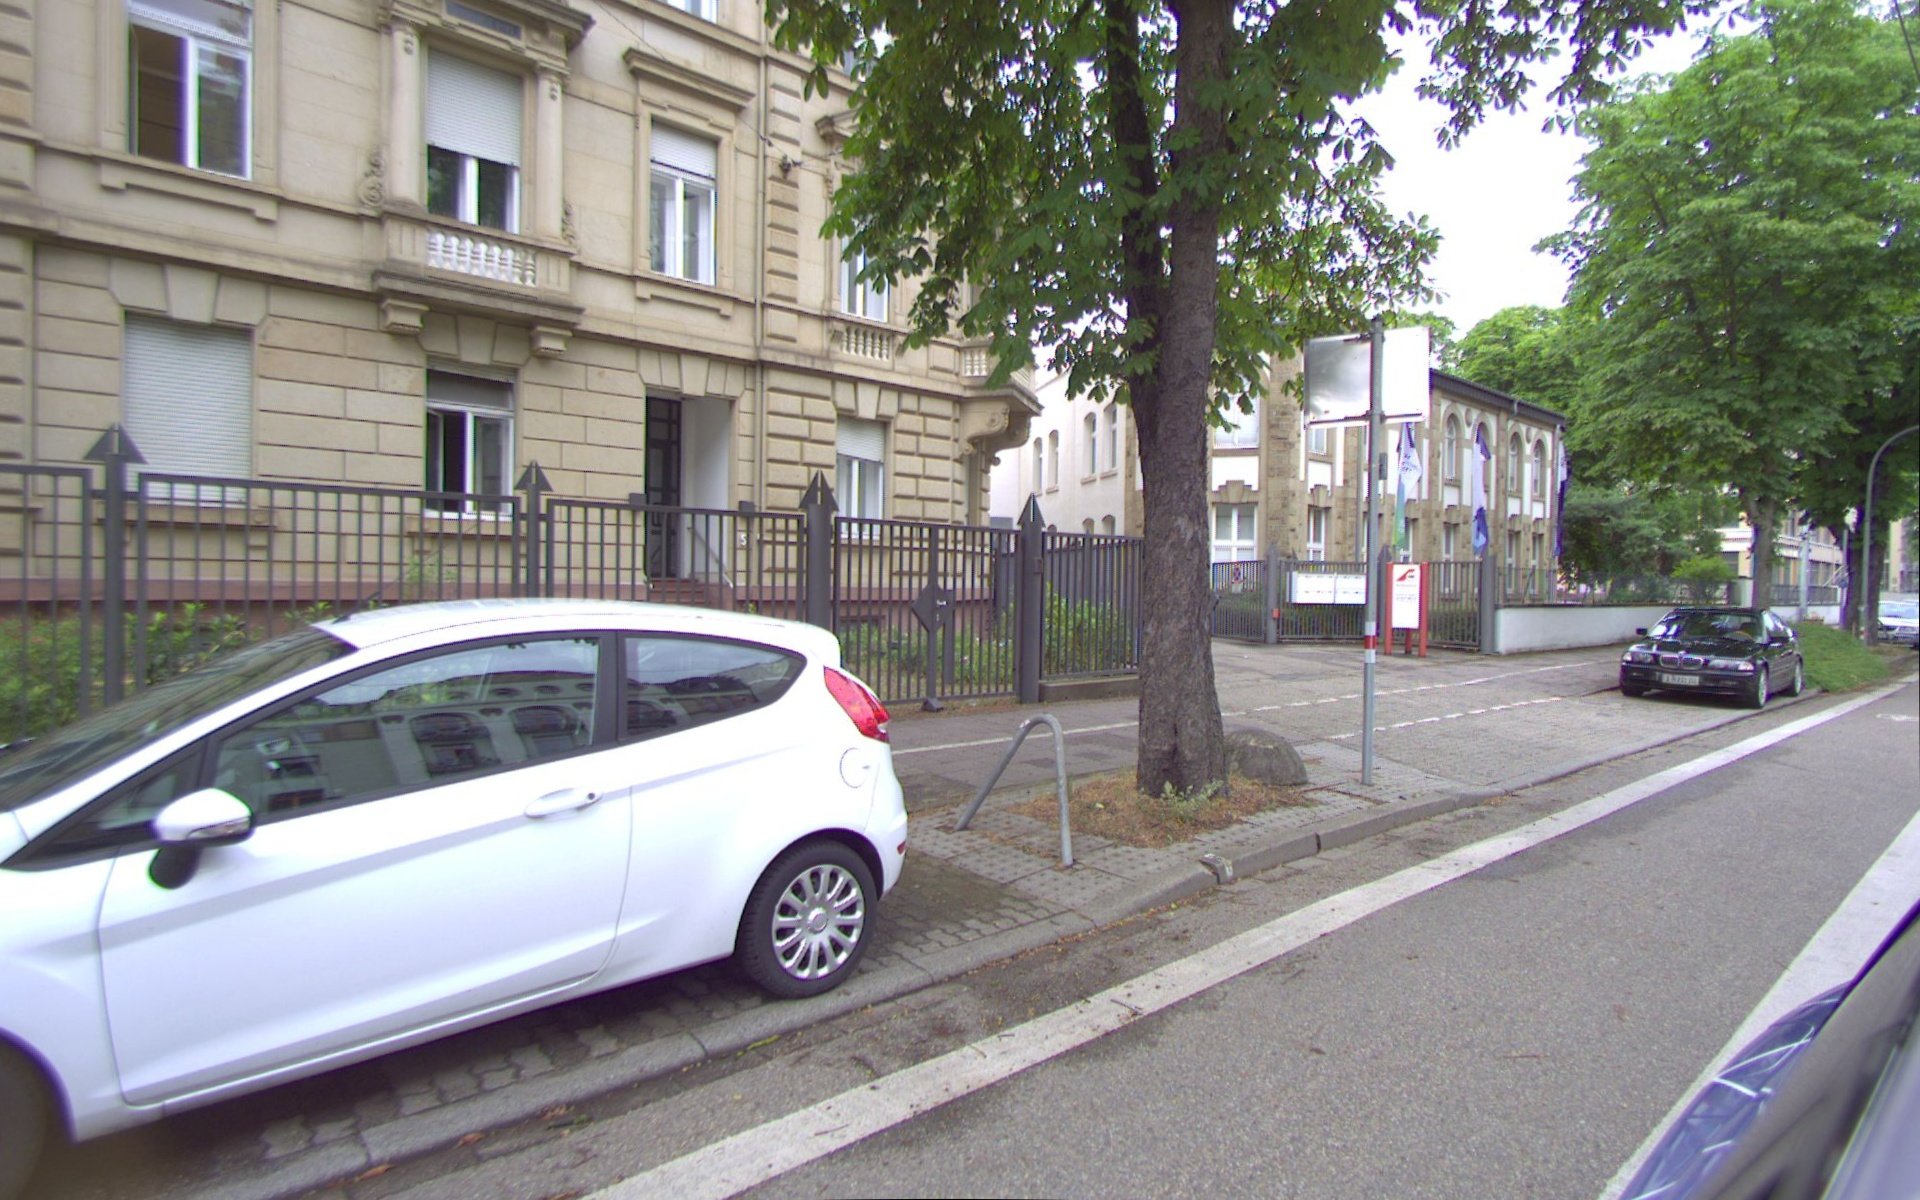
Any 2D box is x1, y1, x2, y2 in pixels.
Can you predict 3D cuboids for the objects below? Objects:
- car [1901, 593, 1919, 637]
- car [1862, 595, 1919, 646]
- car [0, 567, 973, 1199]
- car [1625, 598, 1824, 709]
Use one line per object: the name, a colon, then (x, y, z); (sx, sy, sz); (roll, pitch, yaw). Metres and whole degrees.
car: (33.625, 0.534, 34.645); (3.769, 1.442, 1.606); (0, 3, -41)
car: (28.272, 0.580, 30.113); (3.769, 1.387, 1.606); (0, 3, -41)
car: (-1.892, 0.659, 3.558); (3.698, 1.453, 1.631); (0, 3, -41)
car: (11.684, 0.708, 15.383); (3.769, 1.387, 1.606); (0, 3, -41)
